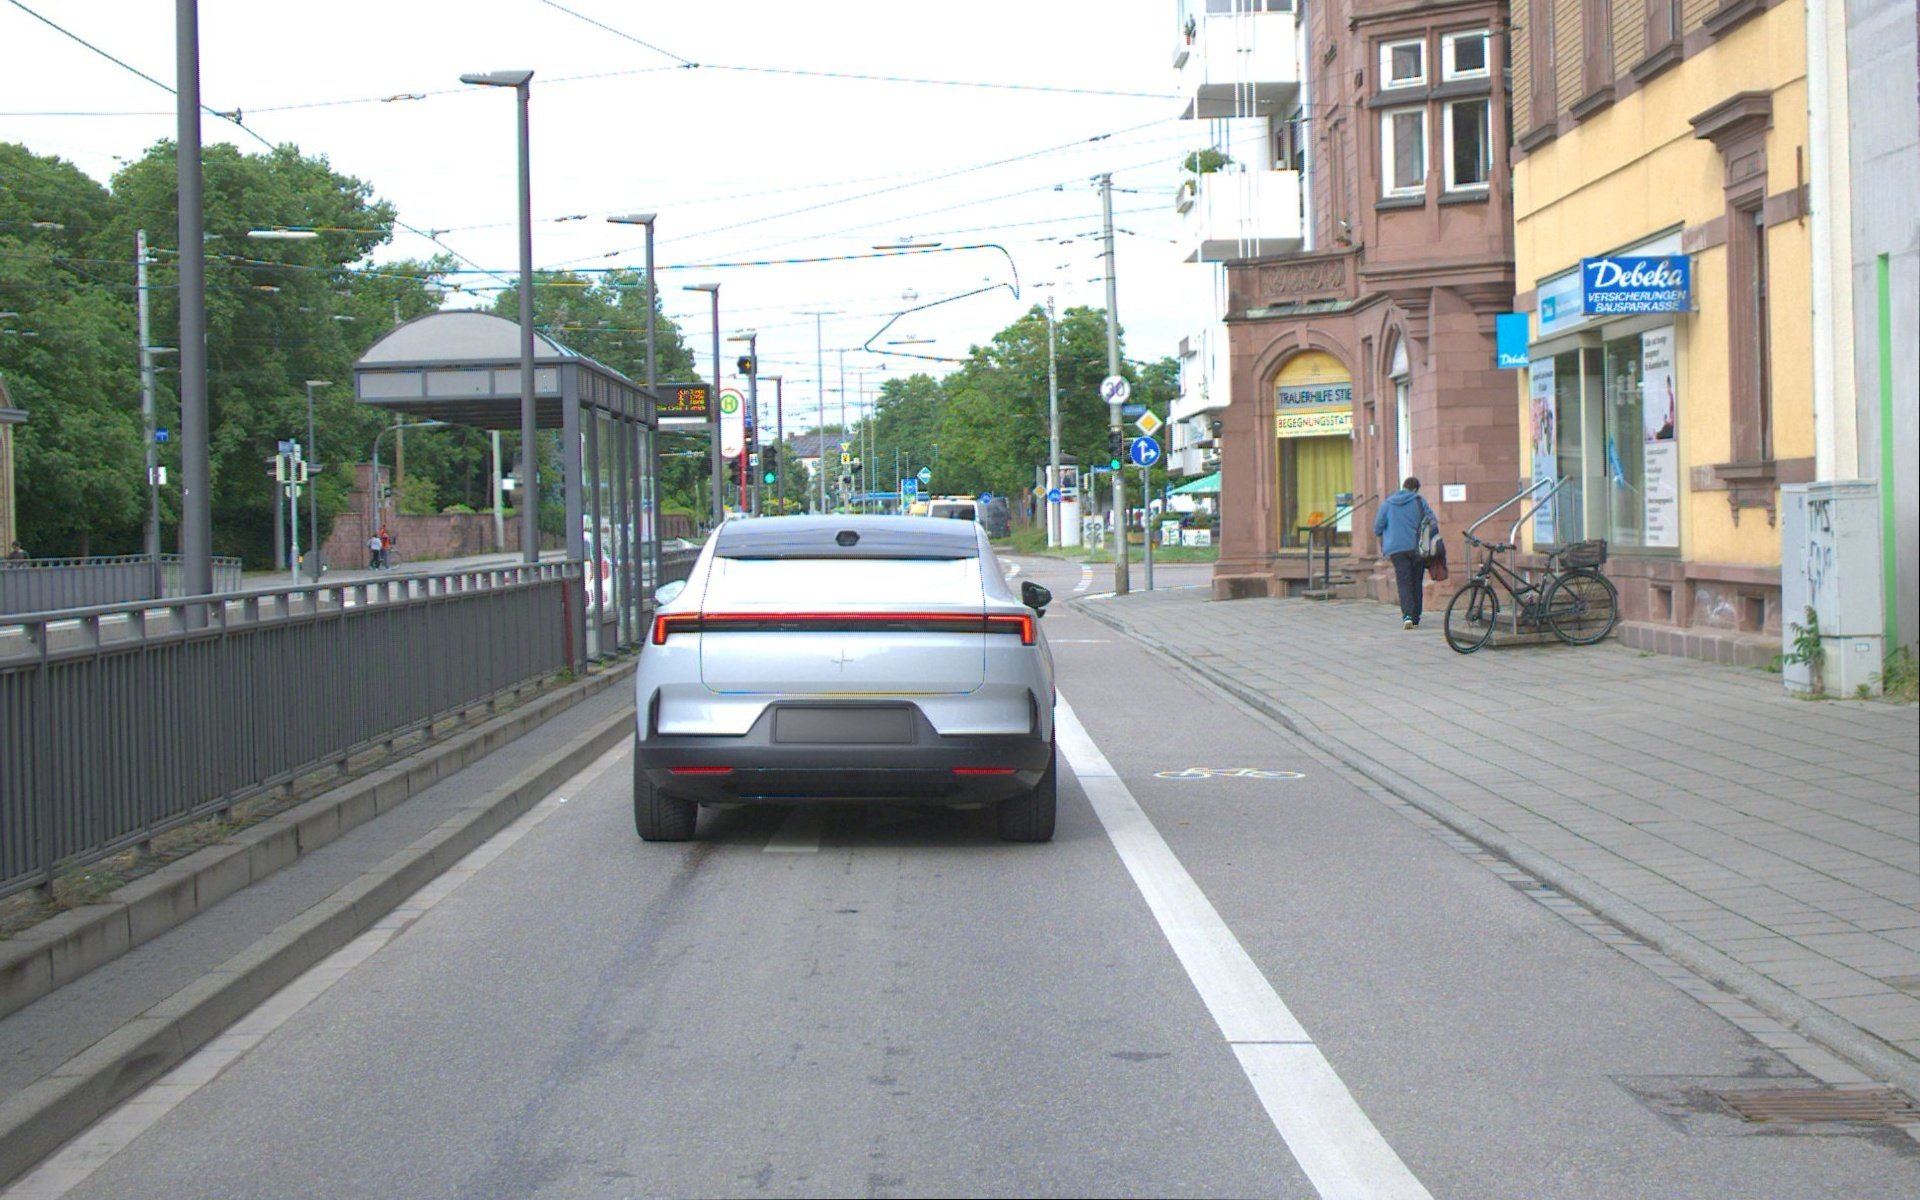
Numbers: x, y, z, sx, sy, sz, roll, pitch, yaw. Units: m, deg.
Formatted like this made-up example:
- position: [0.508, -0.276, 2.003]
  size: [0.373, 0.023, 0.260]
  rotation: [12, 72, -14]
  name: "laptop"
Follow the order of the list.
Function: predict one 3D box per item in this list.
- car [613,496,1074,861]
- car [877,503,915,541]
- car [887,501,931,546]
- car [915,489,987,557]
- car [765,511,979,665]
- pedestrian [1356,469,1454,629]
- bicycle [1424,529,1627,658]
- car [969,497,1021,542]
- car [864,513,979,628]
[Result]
- position: [-0.671, 0.316, 16.924]
  size: [1.999, 1.575, 4.001]
  rotation: [0, 1, -5]
  name: "car"
- position: [-3.469, -4.234, 186.267]
  size: [1.993, 2.007, 4.000]
  rotation: [-1, 1, -1]
  name: "car"
- position: [-2.336, -3.527, 157.921]
  size: [1.993, 2.007, 4.000]
  rotation: [-1, 1, -1]
  name: "car"
- position: [-0.344, -2.721, 122.632]
  size: [2.225, 2.394, 5.124]
  rotation: [0, 1, -4]
  name: "car"
- position: [-0.893, -0.158, 34.630]
  size: [1.993, 1.415, 4.001]
  rotation: [-1, 1, -2]
  name: "car"
- position: [5.343, -0.623, 41.306]
  size: [0.961, 1.843, 0.975]
  rotation: [-3, 2, 0]
  name: "pedestrian"
- position: [5.422, -0.070, 33.010]
  size: [1.777, 1.125, 0.642]
  rotation: [-3, 1, -1]
  name: "bicycle"
- position: [1.929, -4.480, 192.543]
  size: [2.807, 2.496, 5.723]
  rotation: [0, 1, 0]
  name: "car"
- position: [-0.575, -0.462, 52.295]
  size: [1.681, 1.681, 3.824]
  rotation: [0, 1, 0]
  name: "car"
